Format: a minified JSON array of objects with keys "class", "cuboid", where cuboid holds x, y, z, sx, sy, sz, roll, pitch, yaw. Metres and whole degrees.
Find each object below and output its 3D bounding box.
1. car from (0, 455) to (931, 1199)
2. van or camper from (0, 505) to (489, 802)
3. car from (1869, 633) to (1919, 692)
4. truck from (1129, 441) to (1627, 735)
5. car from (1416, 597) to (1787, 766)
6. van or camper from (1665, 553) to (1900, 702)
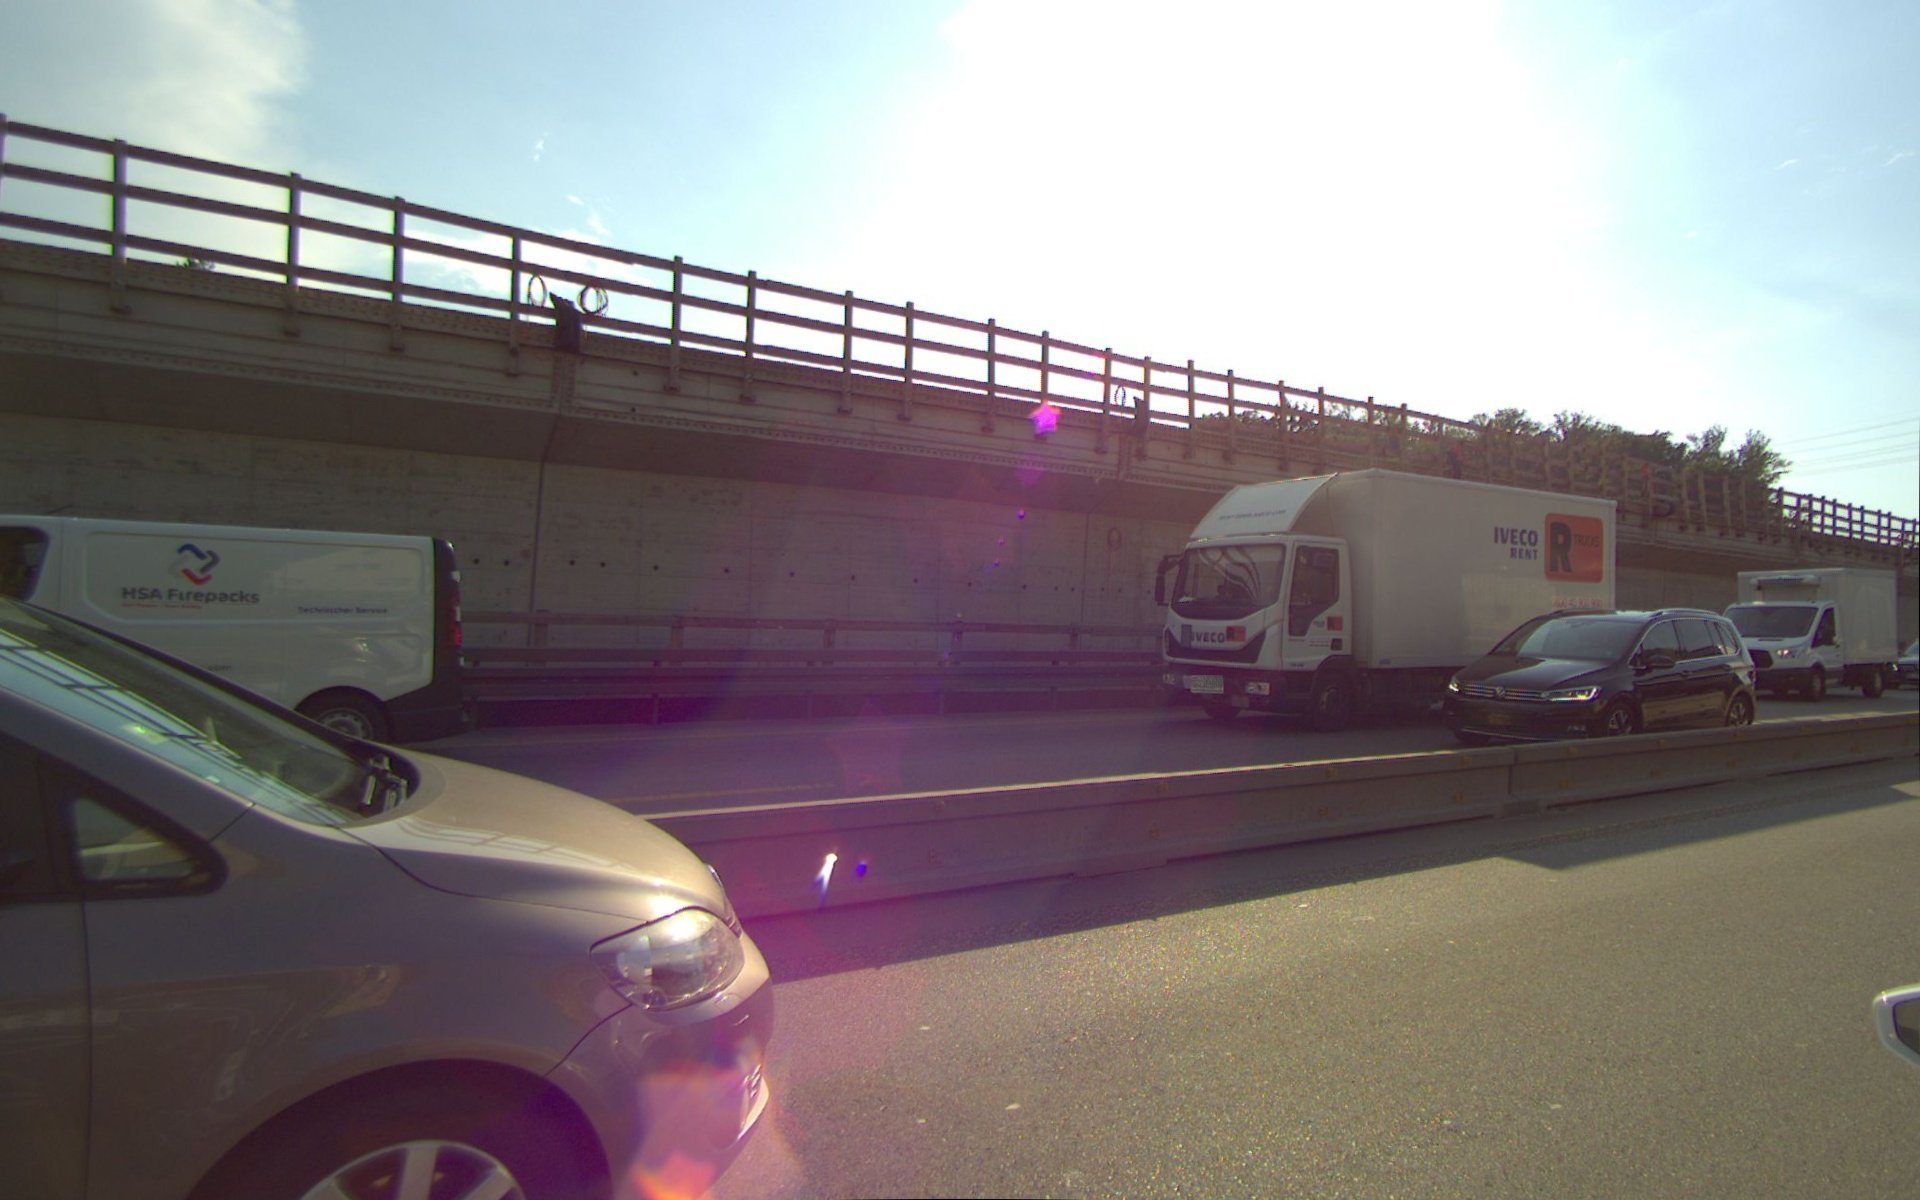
[{"class":"car","cuboid":[-2.291,0.612,1.841,4.222,1.609,1.673,1,-2,-30]},{"class":"van or camper","cuboid":[-6.387,0.344,7.646,4.868,1.948,1.906,2,0,-32]},{"class":"car","cuboid":[27.345,1.724,28.031,4.728,1.551,1.633,2,-2,-31]},{"class":"truck","cuboid":[6.509,0.057,15.111,8.049,3.469,2.701,3,-3,-31]},{"class":"car","cuboid":[7.766,0.909,12.042,4.635,1.667,1.822,3,0,-31]},{"class":"van or camper","cuboid":[18.928,0.704,23.024,6.154,3.028,2.307,3,-2,-32]}]
